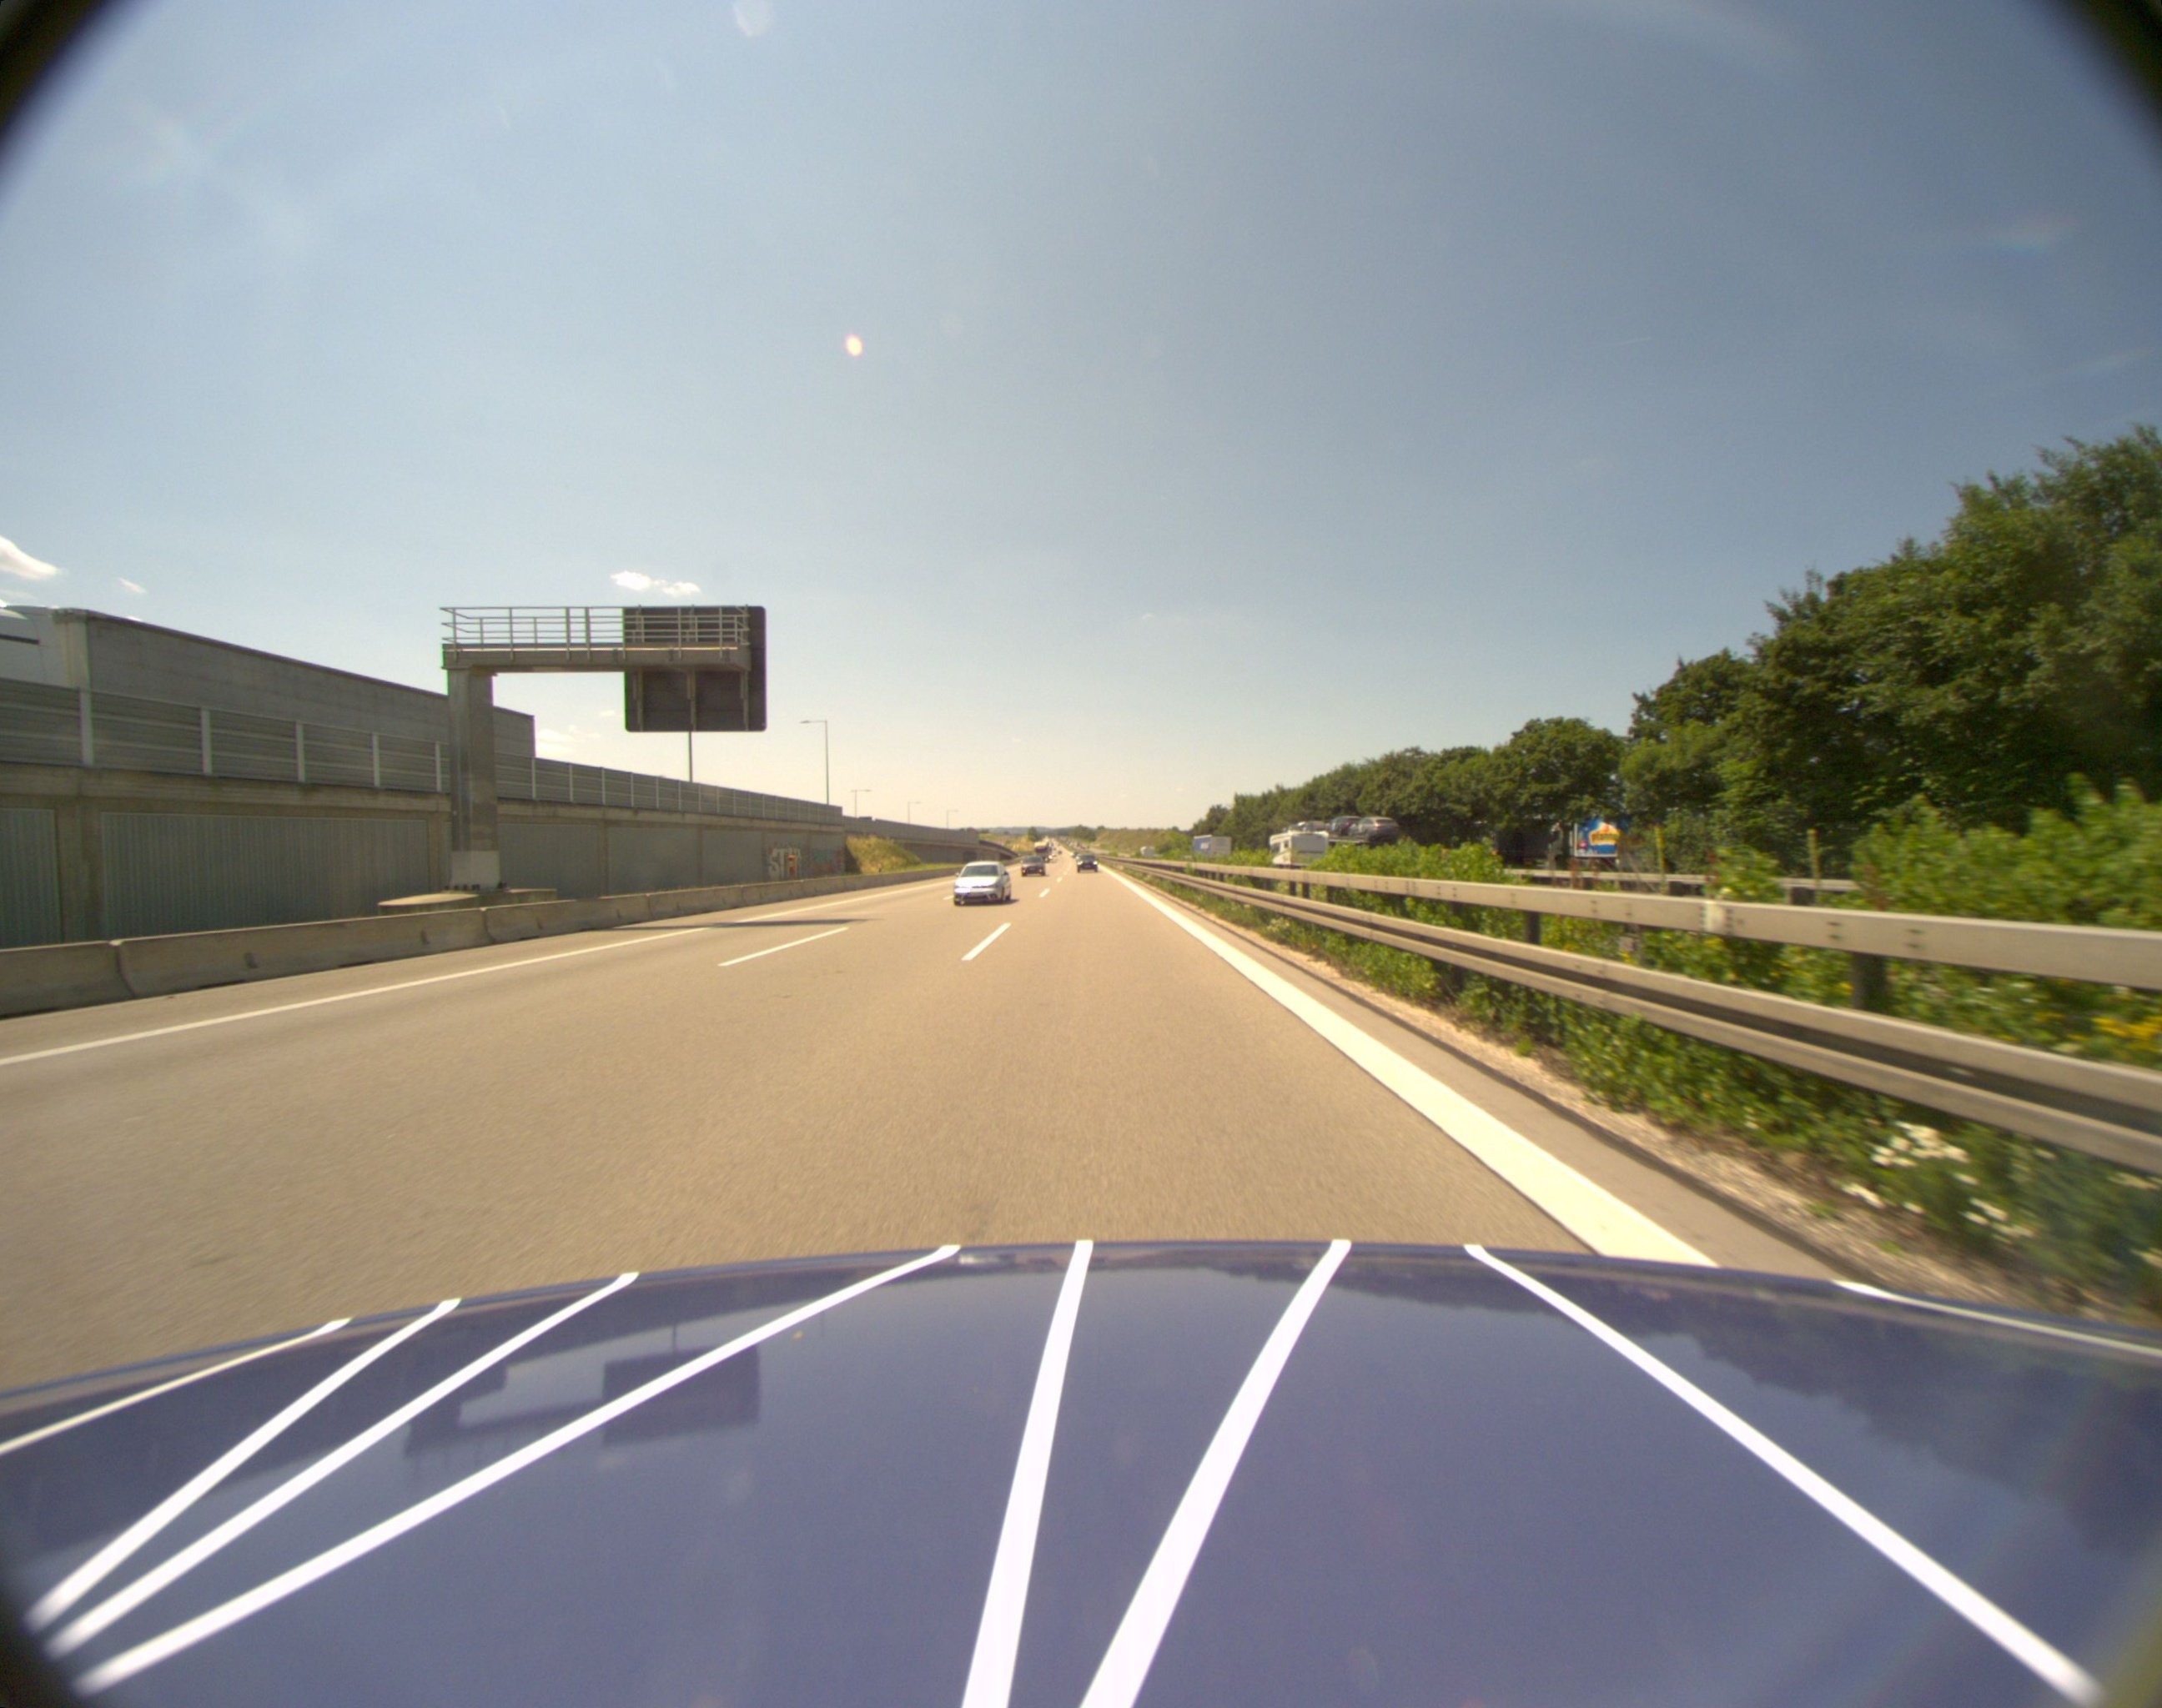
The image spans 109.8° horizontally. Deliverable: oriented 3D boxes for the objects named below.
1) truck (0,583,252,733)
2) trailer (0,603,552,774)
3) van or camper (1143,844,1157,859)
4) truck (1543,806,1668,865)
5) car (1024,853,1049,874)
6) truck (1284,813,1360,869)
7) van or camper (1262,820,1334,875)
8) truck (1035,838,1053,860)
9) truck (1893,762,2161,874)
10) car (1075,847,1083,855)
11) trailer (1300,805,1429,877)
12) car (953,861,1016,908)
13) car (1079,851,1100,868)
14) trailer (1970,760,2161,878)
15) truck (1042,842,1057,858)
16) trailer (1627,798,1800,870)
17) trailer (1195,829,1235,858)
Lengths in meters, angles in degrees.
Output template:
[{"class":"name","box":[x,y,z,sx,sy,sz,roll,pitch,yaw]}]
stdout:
[{"class":"truck","box":[-22.735,-4.231,16.502,2.730,2.217,6.035,-2,1,0]},{"class":"trailer","box":[-22.820,-4.309,23.562,2.726,2.211,14.524,-2,1,-1]},{"class":"van or camper","box":[14.062,-0.565,155.634,2.276,2.952,6.952,1,1,1]},{"class":"truck","box":[35.802,-1.213,52.352,2.561,3.613,8.395,-2,1,-1]},{"class":"car","box":[-3.586,0.729,61.502,1.751,1.559,3.999,-2,1,0]},{"class":"truck","box":[17.810,-0.955,56.866,2.683,3.797,9.152,-2,1,1]},{"class":"van or camper","box":[13.652,-0.442,48.496,2.530,3.249,7.374,1,1,1]},{"class":"truck","box":[-7.468,-1.074,151.884,3.368,4.037,11.732,-2,1,-3]},{"class":"truck","box":[35.805,-1.272,29.146,2.803,3.761,6.098,-2,1,1]},{"class":"car","box":[-0.576,-0.881,207.655,1.998,2.002,4.000,-2,1,1]},{"class":"trailer","box":[17.689,-0.794,49.074,2.692,3.825,15.178,-2,1,1]},{"class":"car","box":[-3.279,1.006,26.518,1.634,1.381,3.999,-2,1,0]},{"class":"car","box":[0.720,0.473,68.793,1.751,1.439,3.999,-2,0,0]},{"class":"trailer","box":[35.728,-1.133,22.195,2.775,3.757,14.409,-2,1,1]},{"class":"truck","box":[-7.840,-0.972,187.971,3.368,3.976,11.733,-1,0,-3]},{"class":"trailer","box":[35.969,-1.103,43.778,2.552,3.641,8.711,-2,1,-1]},{"class":"trailer","box":[18.257,-1.443,104.890,2.849,3.712,14.528,-2,1,0]}]
